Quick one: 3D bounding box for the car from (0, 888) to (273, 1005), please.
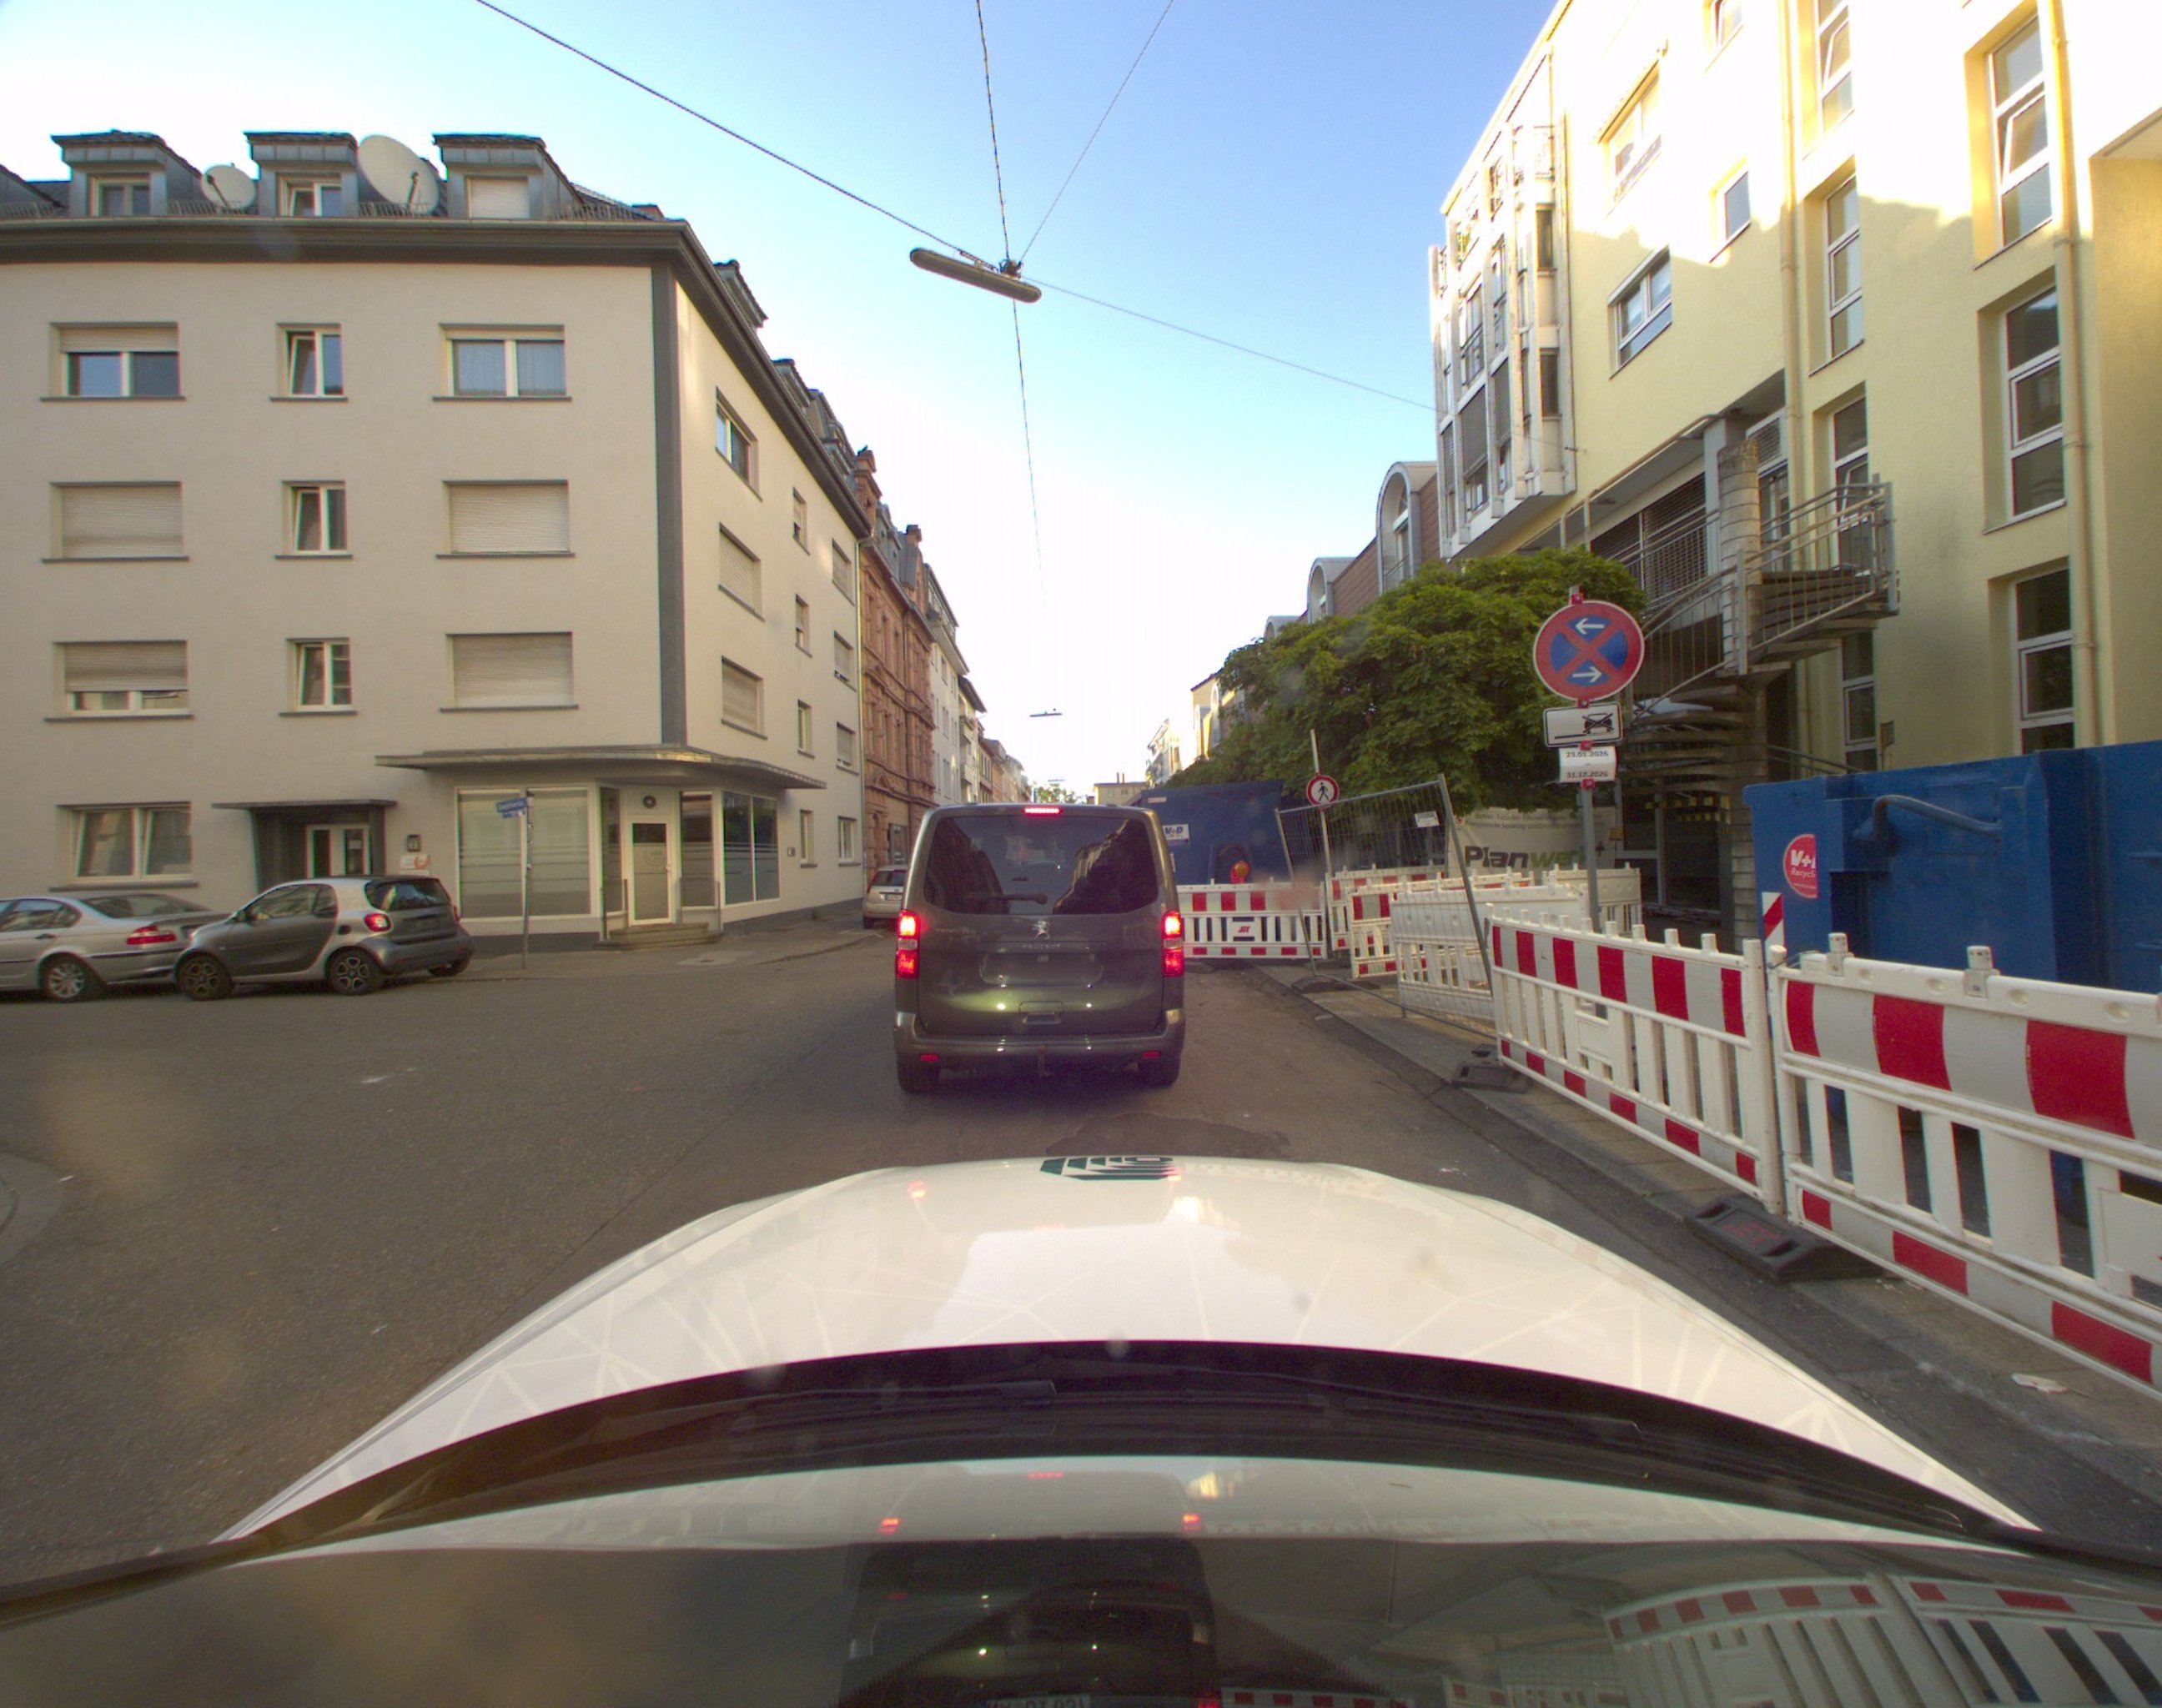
[{"bbox_3d":[-14.208,1.253,11.325,4.193,1.403,1.602,-1,0,-2],"label":"car"}]

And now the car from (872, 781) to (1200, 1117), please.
[{"bbox_3d":[-0.393,0.558,6.814,1.862,1.886,4.229,-1,-1,-4],"label":"car"}]

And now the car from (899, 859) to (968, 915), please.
[{"bbox_3d":[-4.447,0.961,24.980,1.653,1.525,3.412,3,-1,-4],"label":"car"}]

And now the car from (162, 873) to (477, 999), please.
[{"bbox_3d":[-10.266,1.057,11.154,2.778,1.540,1.593,0,0,-1],"label":"car"}]

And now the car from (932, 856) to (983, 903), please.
[{"bbox_3d":[-4.796,0.974,32.076,1.663,1.666,3.087,3,-1,-4],"label":"car"}]

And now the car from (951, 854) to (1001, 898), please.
[{"bbox_3d":[-4.532,0.938,35.718,1.888,1.720,3.748,3,-1,-4],"label":"car"}]

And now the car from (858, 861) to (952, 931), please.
[{"bbox_3d":[-4.148,0.960,19.660,1.653,1.460,3.412,3,-1,-4],"label":"car"}]

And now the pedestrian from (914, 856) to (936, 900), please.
[{"bbox_3d":[-6.068,0.932,31.741,0.739,1.664,0.702,-2,0,-5],"label":"pedestrian"}]
